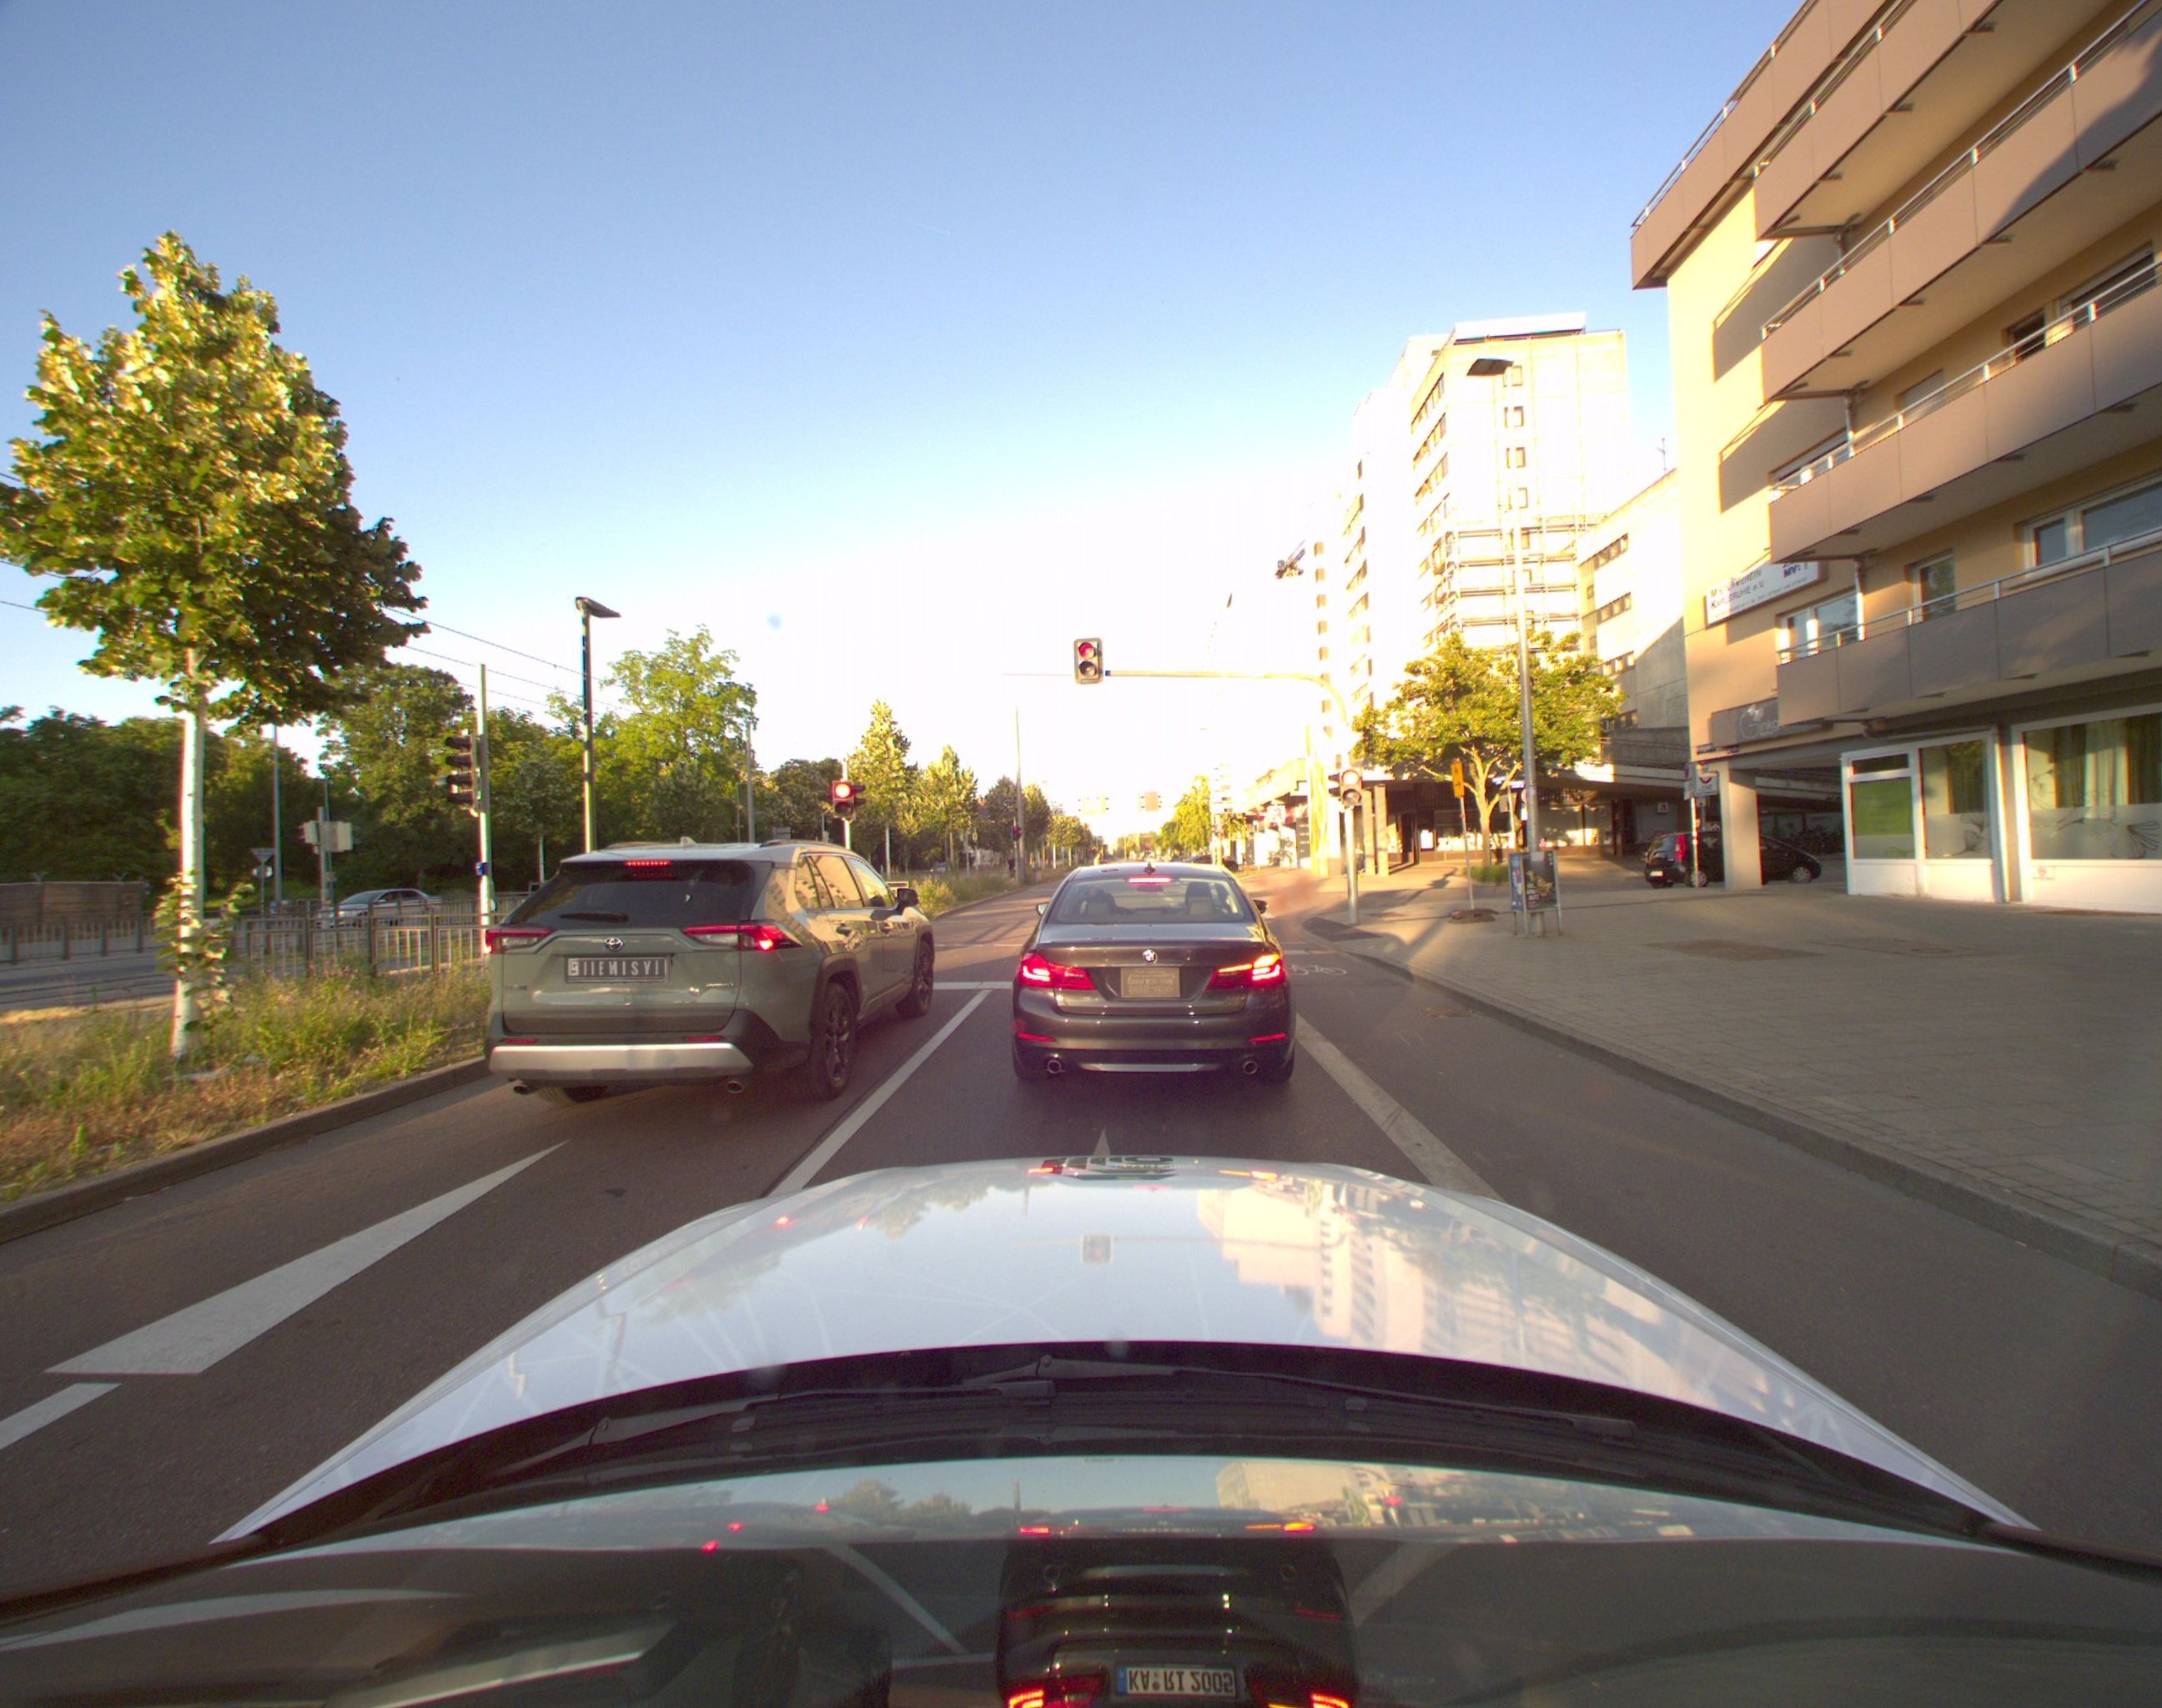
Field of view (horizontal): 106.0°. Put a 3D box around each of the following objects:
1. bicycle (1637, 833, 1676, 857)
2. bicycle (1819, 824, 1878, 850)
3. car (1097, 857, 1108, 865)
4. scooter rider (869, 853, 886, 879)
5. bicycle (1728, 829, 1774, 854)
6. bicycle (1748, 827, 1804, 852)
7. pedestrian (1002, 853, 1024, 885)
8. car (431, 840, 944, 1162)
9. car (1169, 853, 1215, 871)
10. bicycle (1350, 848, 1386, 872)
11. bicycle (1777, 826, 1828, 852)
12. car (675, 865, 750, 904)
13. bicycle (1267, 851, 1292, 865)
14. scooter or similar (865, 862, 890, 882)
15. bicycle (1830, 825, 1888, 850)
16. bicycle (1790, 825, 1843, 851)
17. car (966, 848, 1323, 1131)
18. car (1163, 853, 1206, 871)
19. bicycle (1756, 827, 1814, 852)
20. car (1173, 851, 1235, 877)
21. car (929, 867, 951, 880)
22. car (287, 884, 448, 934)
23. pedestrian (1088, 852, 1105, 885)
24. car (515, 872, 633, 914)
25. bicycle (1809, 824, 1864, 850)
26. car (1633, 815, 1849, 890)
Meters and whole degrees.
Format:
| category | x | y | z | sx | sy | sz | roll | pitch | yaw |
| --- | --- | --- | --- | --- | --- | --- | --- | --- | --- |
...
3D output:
| category | x | y | z | sx | sy | sz | roll | pitch | yaw |
| --- | --- | --- | --- | --- | --- | --- | --- | --- | --- |
| bicycle | 26.985 | -0.395 | 38.214 | 0.578 | 1.075 | 1.980 | 1 | -1 | 5 |
| bicycle | 34.663 | -0.757 | 36.813 | 0.580 | 1.075 | 1.971 | 1 | -1 | -9 |
| car | 3.906 | 1.241 | 147.069 | 1.971 | 1.433 | 4.846 | -1 | 1 | 2 |
| scooter rider | -12.172 | 0.708 | 48.750 | 0.824 | 1.514 | 0.648 | -2 | -1 | -23 |
| bicycle | 30.297 | -0.557 | 36.865 | 0.578 | 1.075 | 1.980 | 1 | -1 | 5 |
| bicycle | 31.825 | -0.640 | 37.326 | 0.582 | 1.075 | 1.966 | 1 | -1 | -17 |
| pedestrian | -3.567 | 0.788 | 42.534 | 0.814 | 1.586 | 0.829 | -2 | -1 | -30 |
| car | -2.424 | 0.736 | 6.407 | 1.848 | 1.658 | 4.269 | -1 | 1 | 1 |
| car | 10.755 | 0.759 | 78.962 | 4.285 | 1.658 | 1.841 | -2 | 1 | -34 |
| bicycle | 14.487 | 0.306 | 41.135 | 0.690 | 1.149 | 2.012 | 1 | -1 | -16 |
| bicycle | 32.900 | -0.672 | 37.166 | 0.579 | 1.075 | 1.976 | 1 | -1 | -1 |
| car | -23.408 | 1.904 | 51.937 | 1.981 | 2.168 | 4.764 | -1 | 1 | 10 |
| bicycle | 16.773 | 0.372 | 68.727 | 2.005 | 1.149 | 0.692 | 0 | -1 | 8 |
| scooter or similar | -12.153 | 1.057 | 48.716 | 1.335 | 1.153 | 0.509 | -2 | -1 | -23 |
| bicycle | 35.291 | -0.734 | 36.969 | 0.580 | 1.075 | 1.971 | 1 | -1 | -9 |
| bicycle | 33.460 | -0.707 | 37.069 | 0.579 | 1.075 | 1.976 | 1 | -1 | -1 |
| car | 0.521 | 0.736 | 6.715 | 1.923 | 1.481 | 4.528 | -1 | 1 | 5 |
| car | 10.820 | 0.815 | 85.064 | 4.284 | 1.658 | 1.841 | -2 | 1 | -33 |
| bicycle | 32.303 | -0.656 | 37.384 | 0.583 | 1.075 | 1.963 | 1 | -1 | -21 |
| car | 8.575 | 0.637 | 56.532 | 4.291 | 1.658 | 1.839 | -2 | 1 | -40 |
| car | -16.948 | 2.336 | 97.863 | 1.792 | 1.481 | 3.786 | -2 | 0 | 3 |
| car | -27.154 | 2.041 | 31.246 | 1.985 | 1.481 | 4.527 | -1 | 1 | 4 |
| pedestrian | 0.852 | 0.754 | 43.497 | 0.832 | 1.712 | 0.648 | -2 | -1 | 1 |
| car | -21.551 | 1.612 | 34.857 | 1.985 | 1.481 | 4.527 | -1 | 1 | 4 |
| bicycle | 34.049 | -0.757 | 36.744 | 0.579 | 1.075 | 1.974 | 1 | -1 | -4 |
| car | 17.177 | -0.002 | 21.375 | 4.020 | 1.585 | 1.708 | -4 | -4 | 6 |
